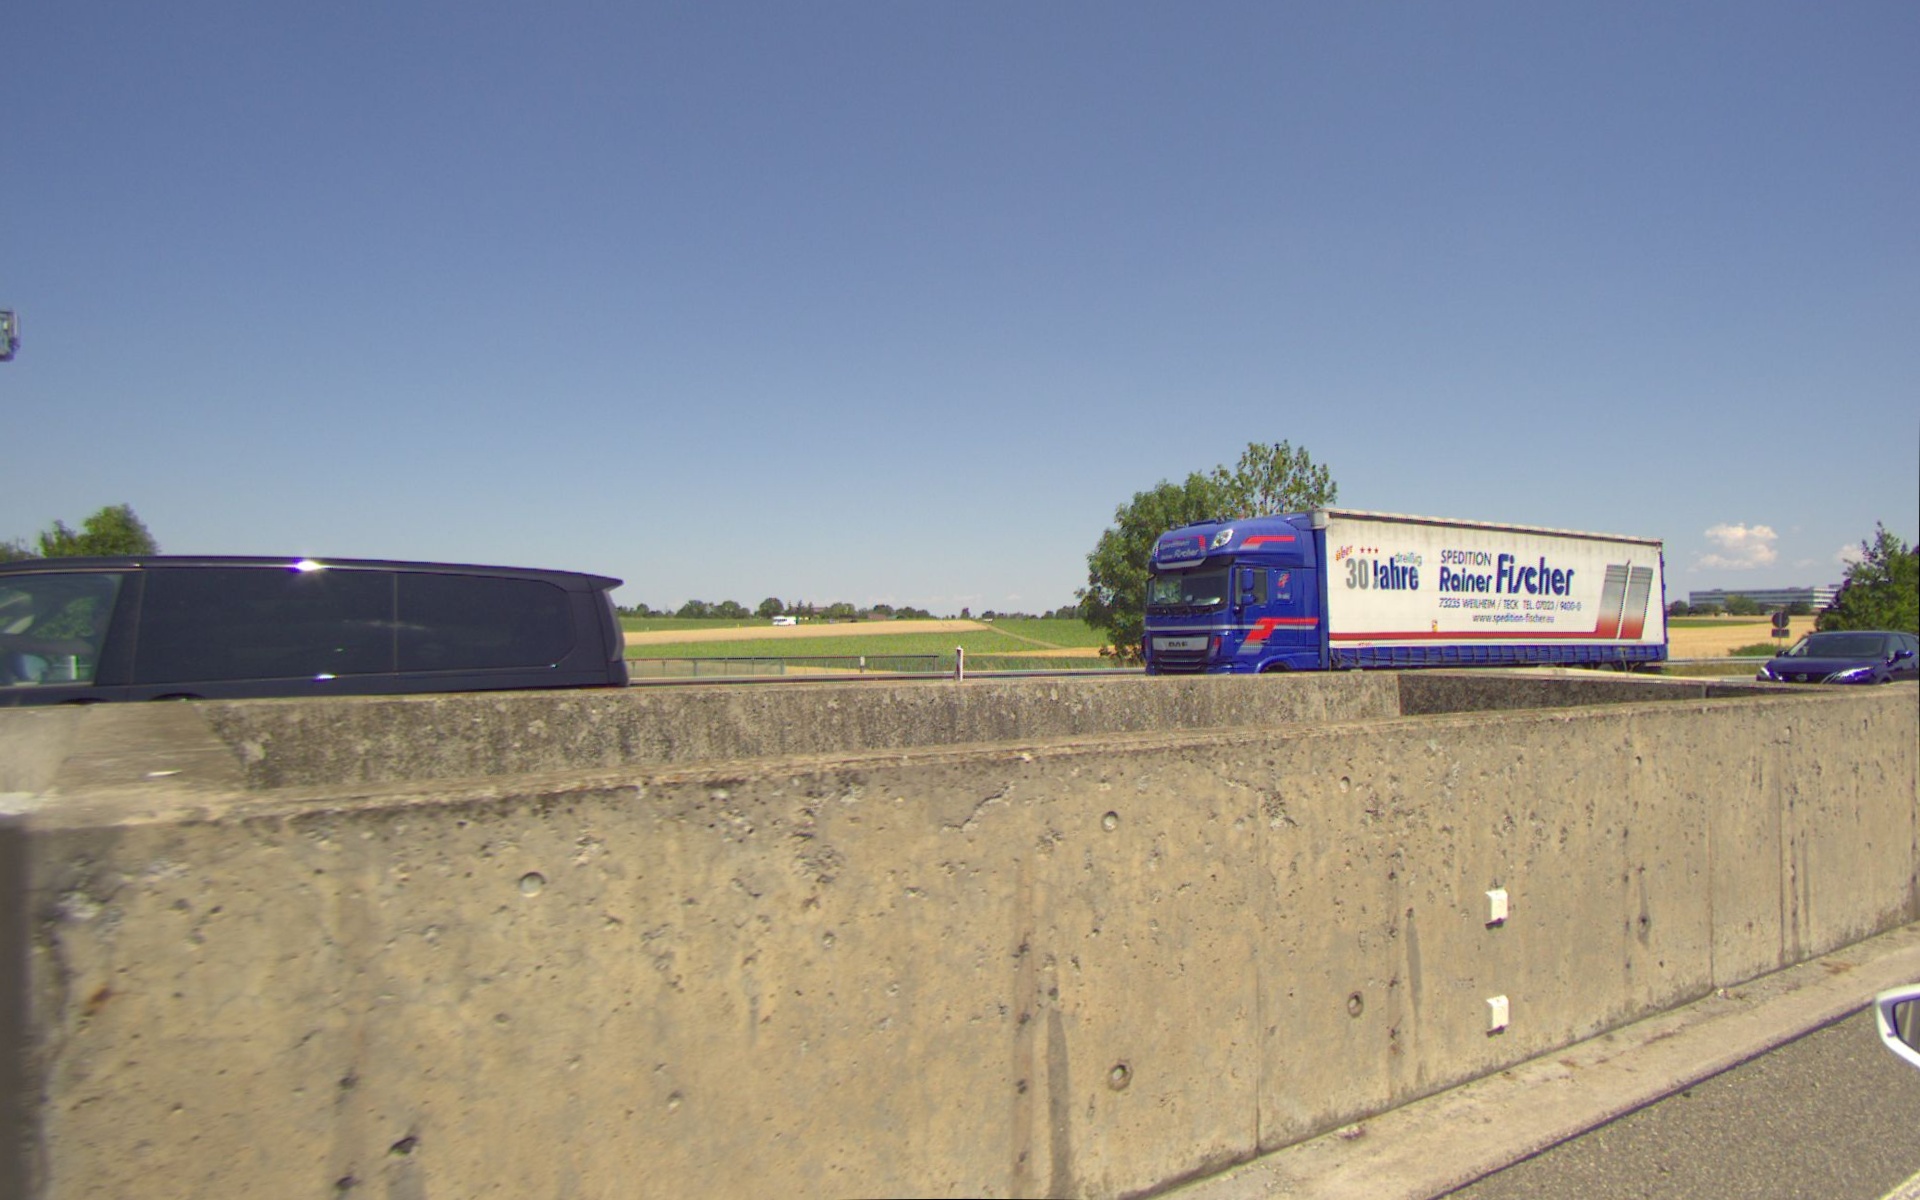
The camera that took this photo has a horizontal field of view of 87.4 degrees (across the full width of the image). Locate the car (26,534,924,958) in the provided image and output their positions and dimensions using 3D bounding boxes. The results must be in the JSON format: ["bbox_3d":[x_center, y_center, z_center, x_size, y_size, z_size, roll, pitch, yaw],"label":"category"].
[{"bbox_3d":[-2.784,0.750,6.761,4.739,1.971,1.984,1,-2,-31],"label":"car"}]

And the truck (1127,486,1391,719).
[{"bbox_3d":[6.193,0.157,20.804,4.797,4.293,2.581,1,-4,-30],"label":"truck"}]

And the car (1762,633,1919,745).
[{"bbox_3d":[17.835,1.643,19.706,4.561,1.971,1.805,1,-2,-31],"label":"car"}]

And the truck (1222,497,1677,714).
[{"bbox_3d":[12.468,0.314,24.502,13.957,4.293,2.581,1,-4,-30],"label":"truck"}]

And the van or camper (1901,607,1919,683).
[{"bbox_3d":[31.676,1.391,31.241,5.430,2.304,2.083,1,-2,-31],"label":"van or camper"}]
